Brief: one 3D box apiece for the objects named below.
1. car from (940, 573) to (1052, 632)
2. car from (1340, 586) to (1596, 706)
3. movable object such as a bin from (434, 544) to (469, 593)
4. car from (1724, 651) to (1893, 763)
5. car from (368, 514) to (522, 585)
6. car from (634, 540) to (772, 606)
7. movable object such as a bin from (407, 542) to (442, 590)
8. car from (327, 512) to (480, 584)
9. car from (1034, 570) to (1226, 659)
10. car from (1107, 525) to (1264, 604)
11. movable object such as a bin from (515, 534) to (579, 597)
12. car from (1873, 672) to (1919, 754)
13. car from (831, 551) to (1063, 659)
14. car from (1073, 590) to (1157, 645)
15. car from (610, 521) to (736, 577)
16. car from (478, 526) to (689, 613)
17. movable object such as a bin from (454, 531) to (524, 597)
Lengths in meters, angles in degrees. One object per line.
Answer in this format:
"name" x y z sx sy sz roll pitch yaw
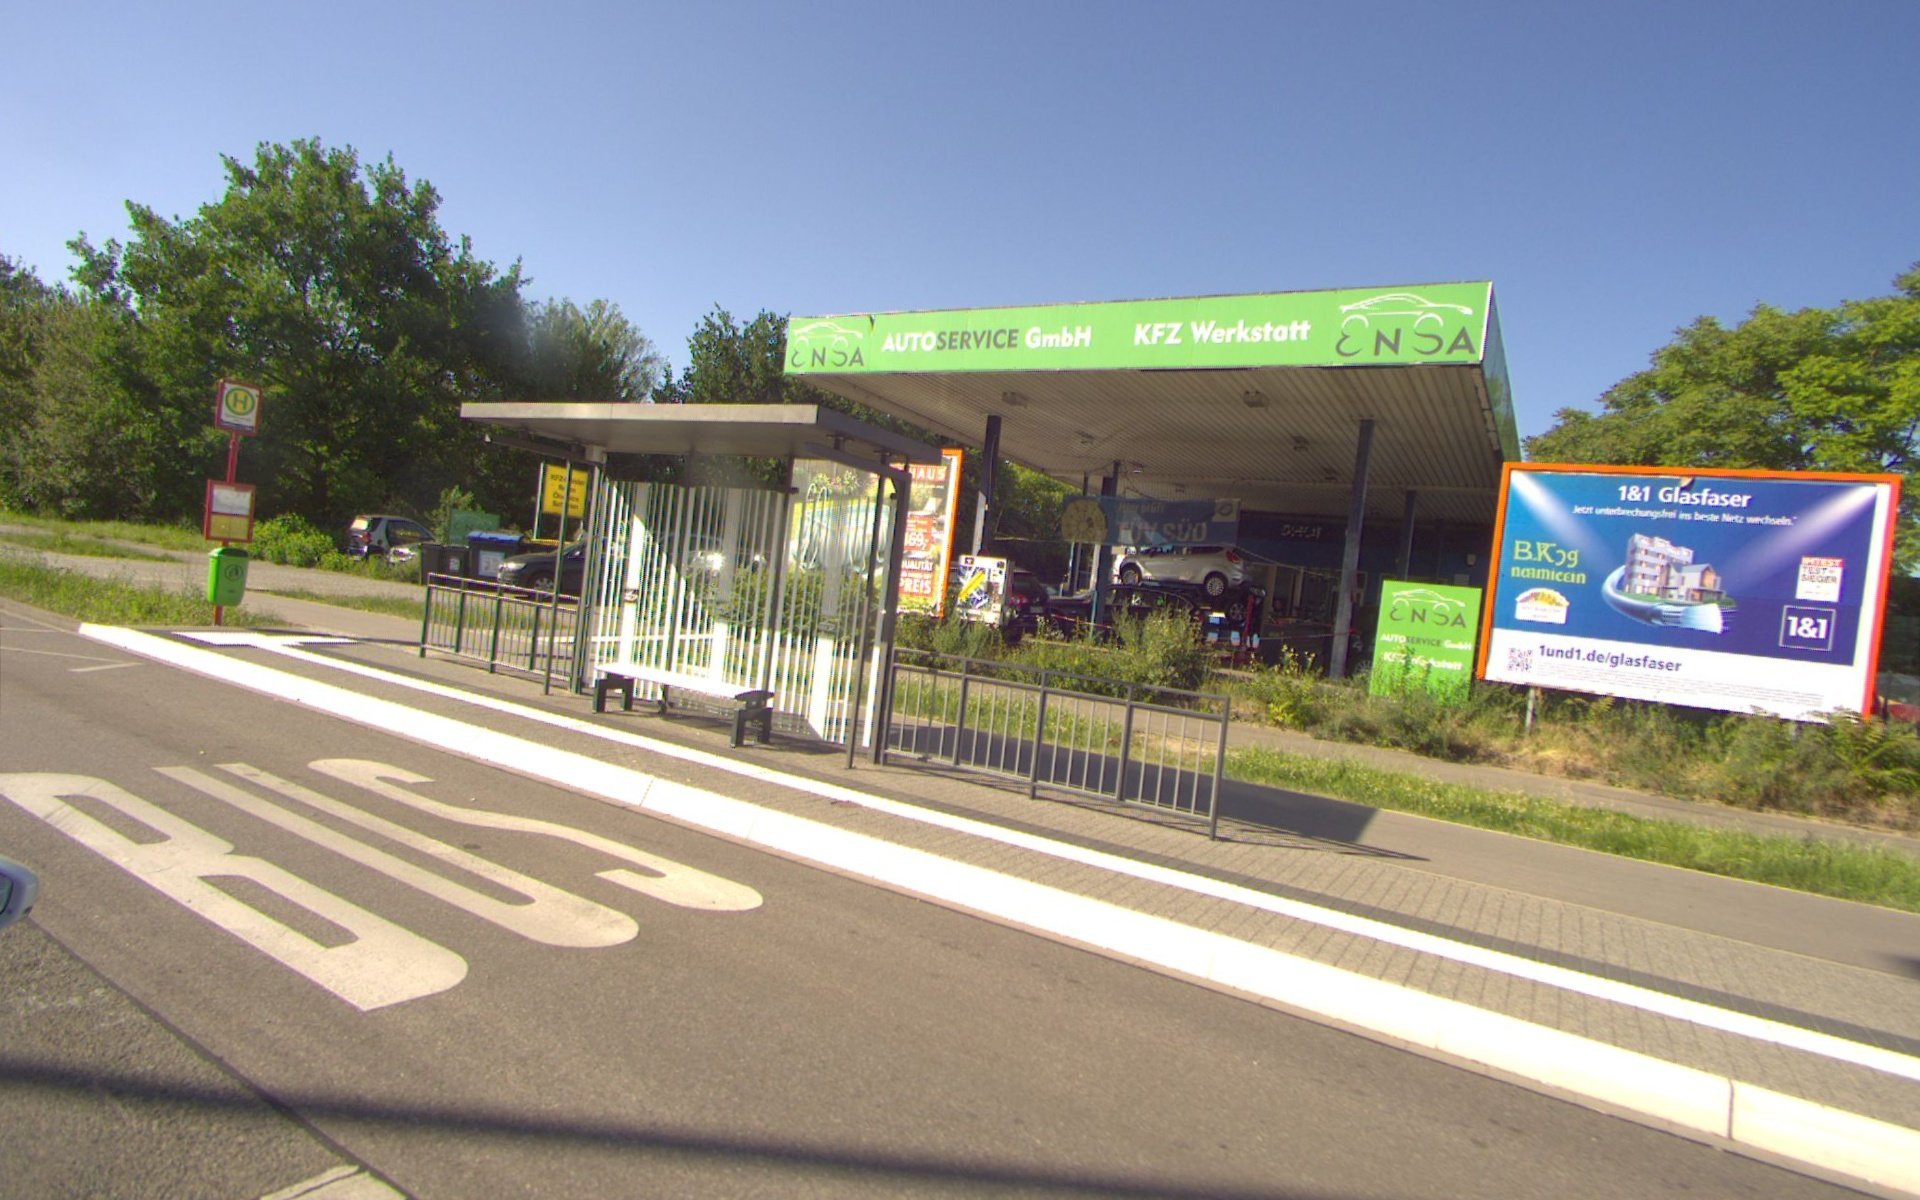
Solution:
"car" 1.161 0.106 30.055 1.682 1.435 3.993 6 1 27
"car" 9.419 0.847 18.768 3.933 1.667 1.997 7 -1 31
"movable object such as a bin" -12.603 -0.771 24.940 0.501 1.135 0.581 7 1 -10
"car" 16.513 1.992 19.788 1.818 1.570 3.760 4 4 31
"car" -14.147 -1.362 27.773 1.700 1.434 3.289 7 -2 33
"car" -7.763 -0.811 30.280 3.850 1.481 1.727 7 -1 32
"movable object such as a bin" -13.152 -0.829 24.707 0.501 1.088 0.581 7 1 -10
"car" -15.908 -1.461 28.875 1.743 1.503 3.289 7 -2 33
"car" 3.930 0.355 23.710 3.929 1.503 1.999 8 -1 -5
"car" 6.286 -0.996 28.111 3.716 1.777 1.920 6 1 33
"movable object such as a bin" -10.543 -0.864 25.710 1.204 1.446 0.986 7 1 -11
"car" 21.565 2.500 21.922 1.638 1.395 3.760 4 4 31
"car" -0.302 0.082 19.824 4.179 1.592 1.746 7 0 33
"car" 6.653 0.768 42.707 1.965 1.803 4.521 7 -2 28
"car" -9.967 -1.738 35.183 1.706 1.551 4.037 7 2 33
"car" -9.087 -0.711 24.339 4.506 1.662 1.787 4 2 -29
"movable object such as a bin" -11.707 -0.882 25.053 1.240 1.446 0.986 7 0 -11
